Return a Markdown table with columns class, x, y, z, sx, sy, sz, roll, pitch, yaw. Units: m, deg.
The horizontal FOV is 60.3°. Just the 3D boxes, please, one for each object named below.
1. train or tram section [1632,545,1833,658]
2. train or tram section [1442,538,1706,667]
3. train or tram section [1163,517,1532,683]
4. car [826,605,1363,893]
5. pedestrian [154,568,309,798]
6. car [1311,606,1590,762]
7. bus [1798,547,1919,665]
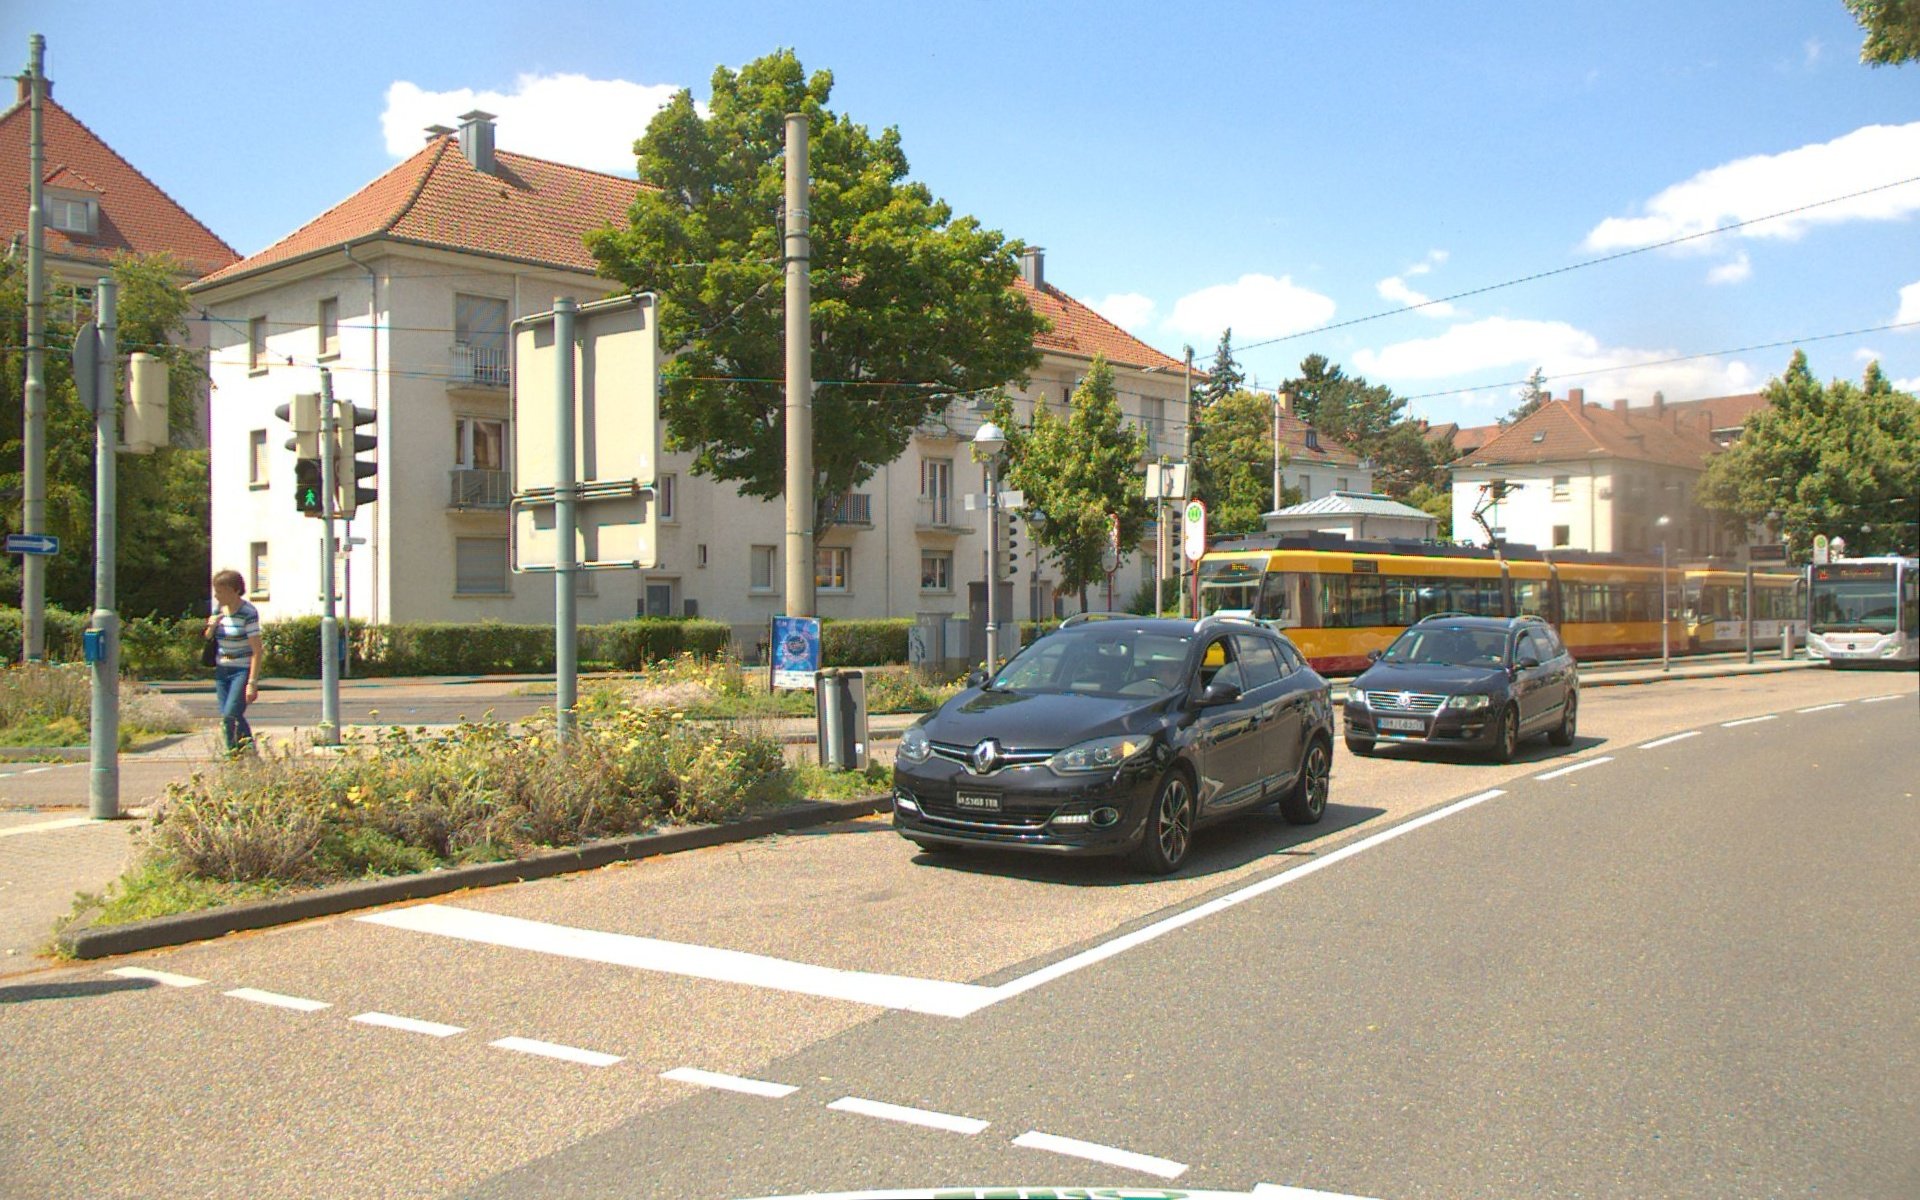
| class | x | y | z | sx | sy | sz | roll | pitch | yaw |
| --- | --- | --- | --- | --- | --- | --- | --- | --- | --- |
| train or tram section | 30.614 | 0.085 | 64.919 | 2.745 | 3.963 | 15.454 | 0 | -1 | 42 |
| train or tram section | 20.024 | 0.099 | 52.994 | 2.745 | 3.631 | 14.613 | 0 | -1 | 42 |
| train or tram section | 10.408 | 0.037 | 42.364 | 2.769 | 3.631 | 14.092 | 0 | -1 | 42 |
| car | 1.146 | 0.808 | 11.217 | 1.956 | 1.526 | 4.417 | 0 | 0 | 30 |
| pedestrian | -5.745 | 0.629 | 13.069 | 0.746 | 1.735 | 0.836 | 0 | -1 | 30 |
| car | 5.717 | 0.853 | 18.885 | 1.957 | 1.546 | 4.500 | 0 | 0 | 32 |
| bus | 28.437 | 0.199 | 49.886 | 2.690 | 3.184 | 11.934 | 0 | -1 | 42 |
